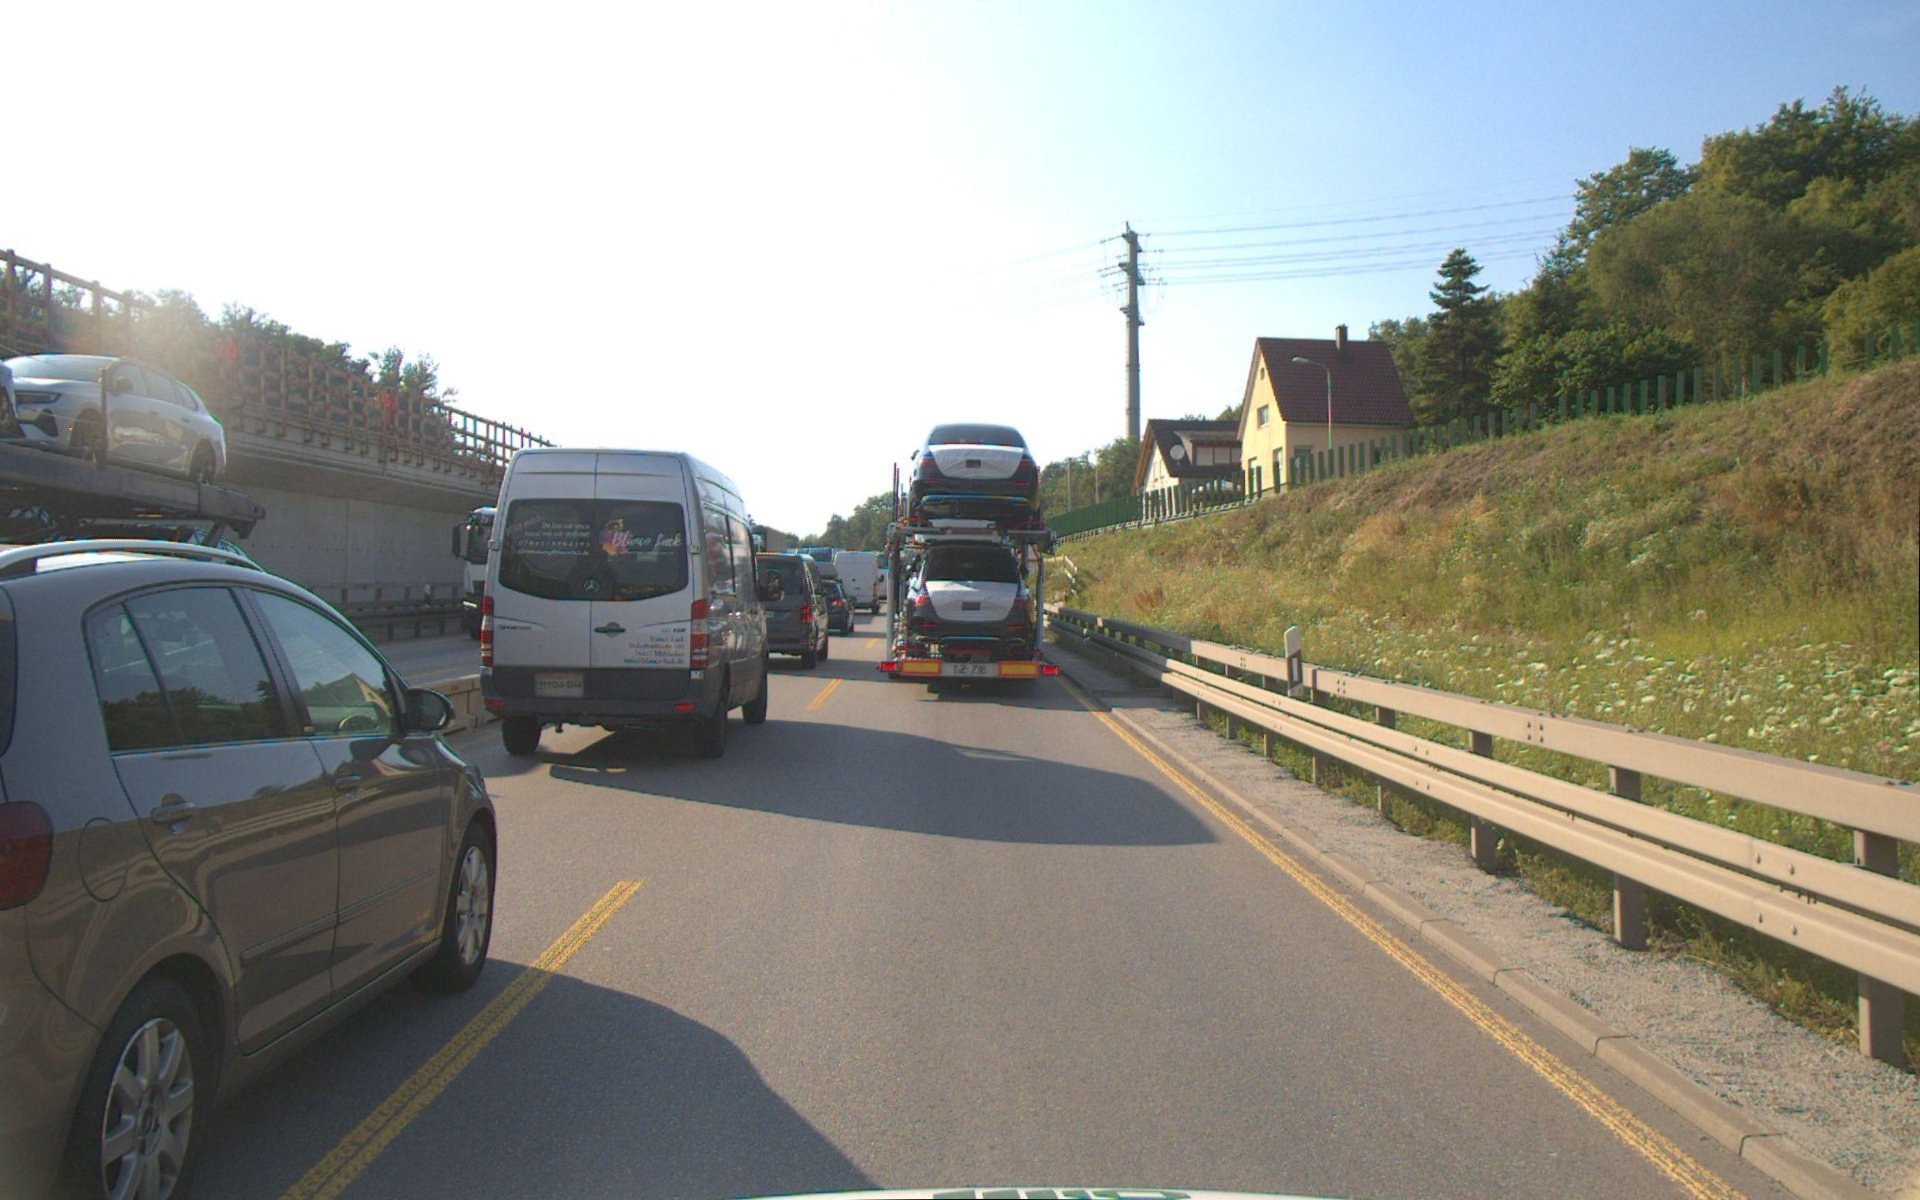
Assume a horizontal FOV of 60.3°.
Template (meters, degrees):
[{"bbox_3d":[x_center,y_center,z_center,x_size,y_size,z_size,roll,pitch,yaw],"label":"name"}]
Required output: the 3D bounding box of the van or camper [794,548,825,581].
[{"bbox_3d":[-13.066,-3.070,143.856,2.265,2.709,6.453,-1,1,-2],"label":"van or camper"}]

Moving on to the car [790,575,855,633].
[{"bbox_3d":[-3.910,0.080,47.478,1.691,1.549,3.971,1,1,-3],"label":"car"}]

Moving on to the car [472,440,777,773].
[{"bbox_3d":[-3.024,0.003,16.189,1.953,2.694,5.529,0,1,-1],"label":"car"}]

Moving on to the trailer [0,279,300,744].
[{"bbox_3d":[-9.802,-0.798,13.634,2.715,4.101,15.758,1,0,-1],"label":"trailer"}]

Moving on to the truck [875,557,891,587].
[{"bbox_3d":[-11.793,-4.322,253.644,2.154,4.504,8.224,0,0,-4],"label":"truck"}]

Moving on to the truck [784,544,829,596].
[{"bbox_3d":[-11.003,-2.082,119.070,2.660,3.484,8.137,-2,0,-2],"label":"truck"}]

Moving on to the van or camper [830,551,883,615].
[{"bbox_3d":[-4.436,-0.693,71.366,1.928,2.637,5.041,1,0,0],"label":"van or camper"}]

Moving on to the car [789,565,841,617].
[{"bbox_3d":[-7.323,-0.440,83.903,2.422,2.578,3.999,0,0,-2],"label":"car"}]

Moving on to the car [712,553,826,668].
[{"bbox_3d":[-3.429,0.184,30.286,1.772,1.937,3.998,1,0,-3],"label":"car"}]

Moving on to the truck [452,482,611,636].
[{"bbox_3d":[-10.359,-0.946,40.504,2.497,3.469,5.530,1,0,-2],"label":"truck"}]

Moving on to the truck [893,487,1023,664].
[{"bbox_3d":[-0.099,-0.510,37.582,2.628,3.596,7.192,1,0,-1],"label":"truck"}]

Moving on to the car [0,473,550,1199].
[{"bbox_3d":[-2.529,0.602,4.911,1.646,1.616,4.270,0,0,-1],"label":"car"}]

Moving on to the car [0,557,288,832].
[{"bbox_3d":[-6.482,0.536,11.690,1.721,1.605,4.338,1,0,-1],"label":"car"}]

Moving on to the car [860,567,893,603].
[{"bbox_3d":[-4.996,-0.908,99.267,1.848,2.136,3.764,1,1,-2],"label":"car"}]

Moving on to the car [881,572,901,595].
[{"bbox_3d":[-9.578,-2.289,229.916,2.715,3.045,5.594,1,0,-3],"label":"car"}]

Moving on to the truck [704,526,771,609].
[{"bbox_3d":[-11.456,-1.621,85.539,2.803,4.078,5.656,1,0,-2],"label":"truck"}]

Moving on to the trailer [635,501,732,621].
[{"bbox_3d":[-10.249,-1.453,61.768,2.709,4.213,5.975,1,1,-2],"label":"trailer"}]

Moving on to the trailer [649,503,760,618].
[{"bbox_3d":[-10.347,-1.619,68.469,2.709,4.213,14.022,1,1,-1],"label":"trailer"}]

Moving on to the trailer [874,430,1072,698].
[{"bbox_3d":[0.045,-0.507,30.072,2.628,3.596,15.285,1,0,-1],"label":"trailer"}]

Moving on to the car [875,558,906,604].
[{"bbox_3d":[-7.965,-2.190,188.315,3.376,5.123,9.648,1,1,-3],"label":"car"}]
